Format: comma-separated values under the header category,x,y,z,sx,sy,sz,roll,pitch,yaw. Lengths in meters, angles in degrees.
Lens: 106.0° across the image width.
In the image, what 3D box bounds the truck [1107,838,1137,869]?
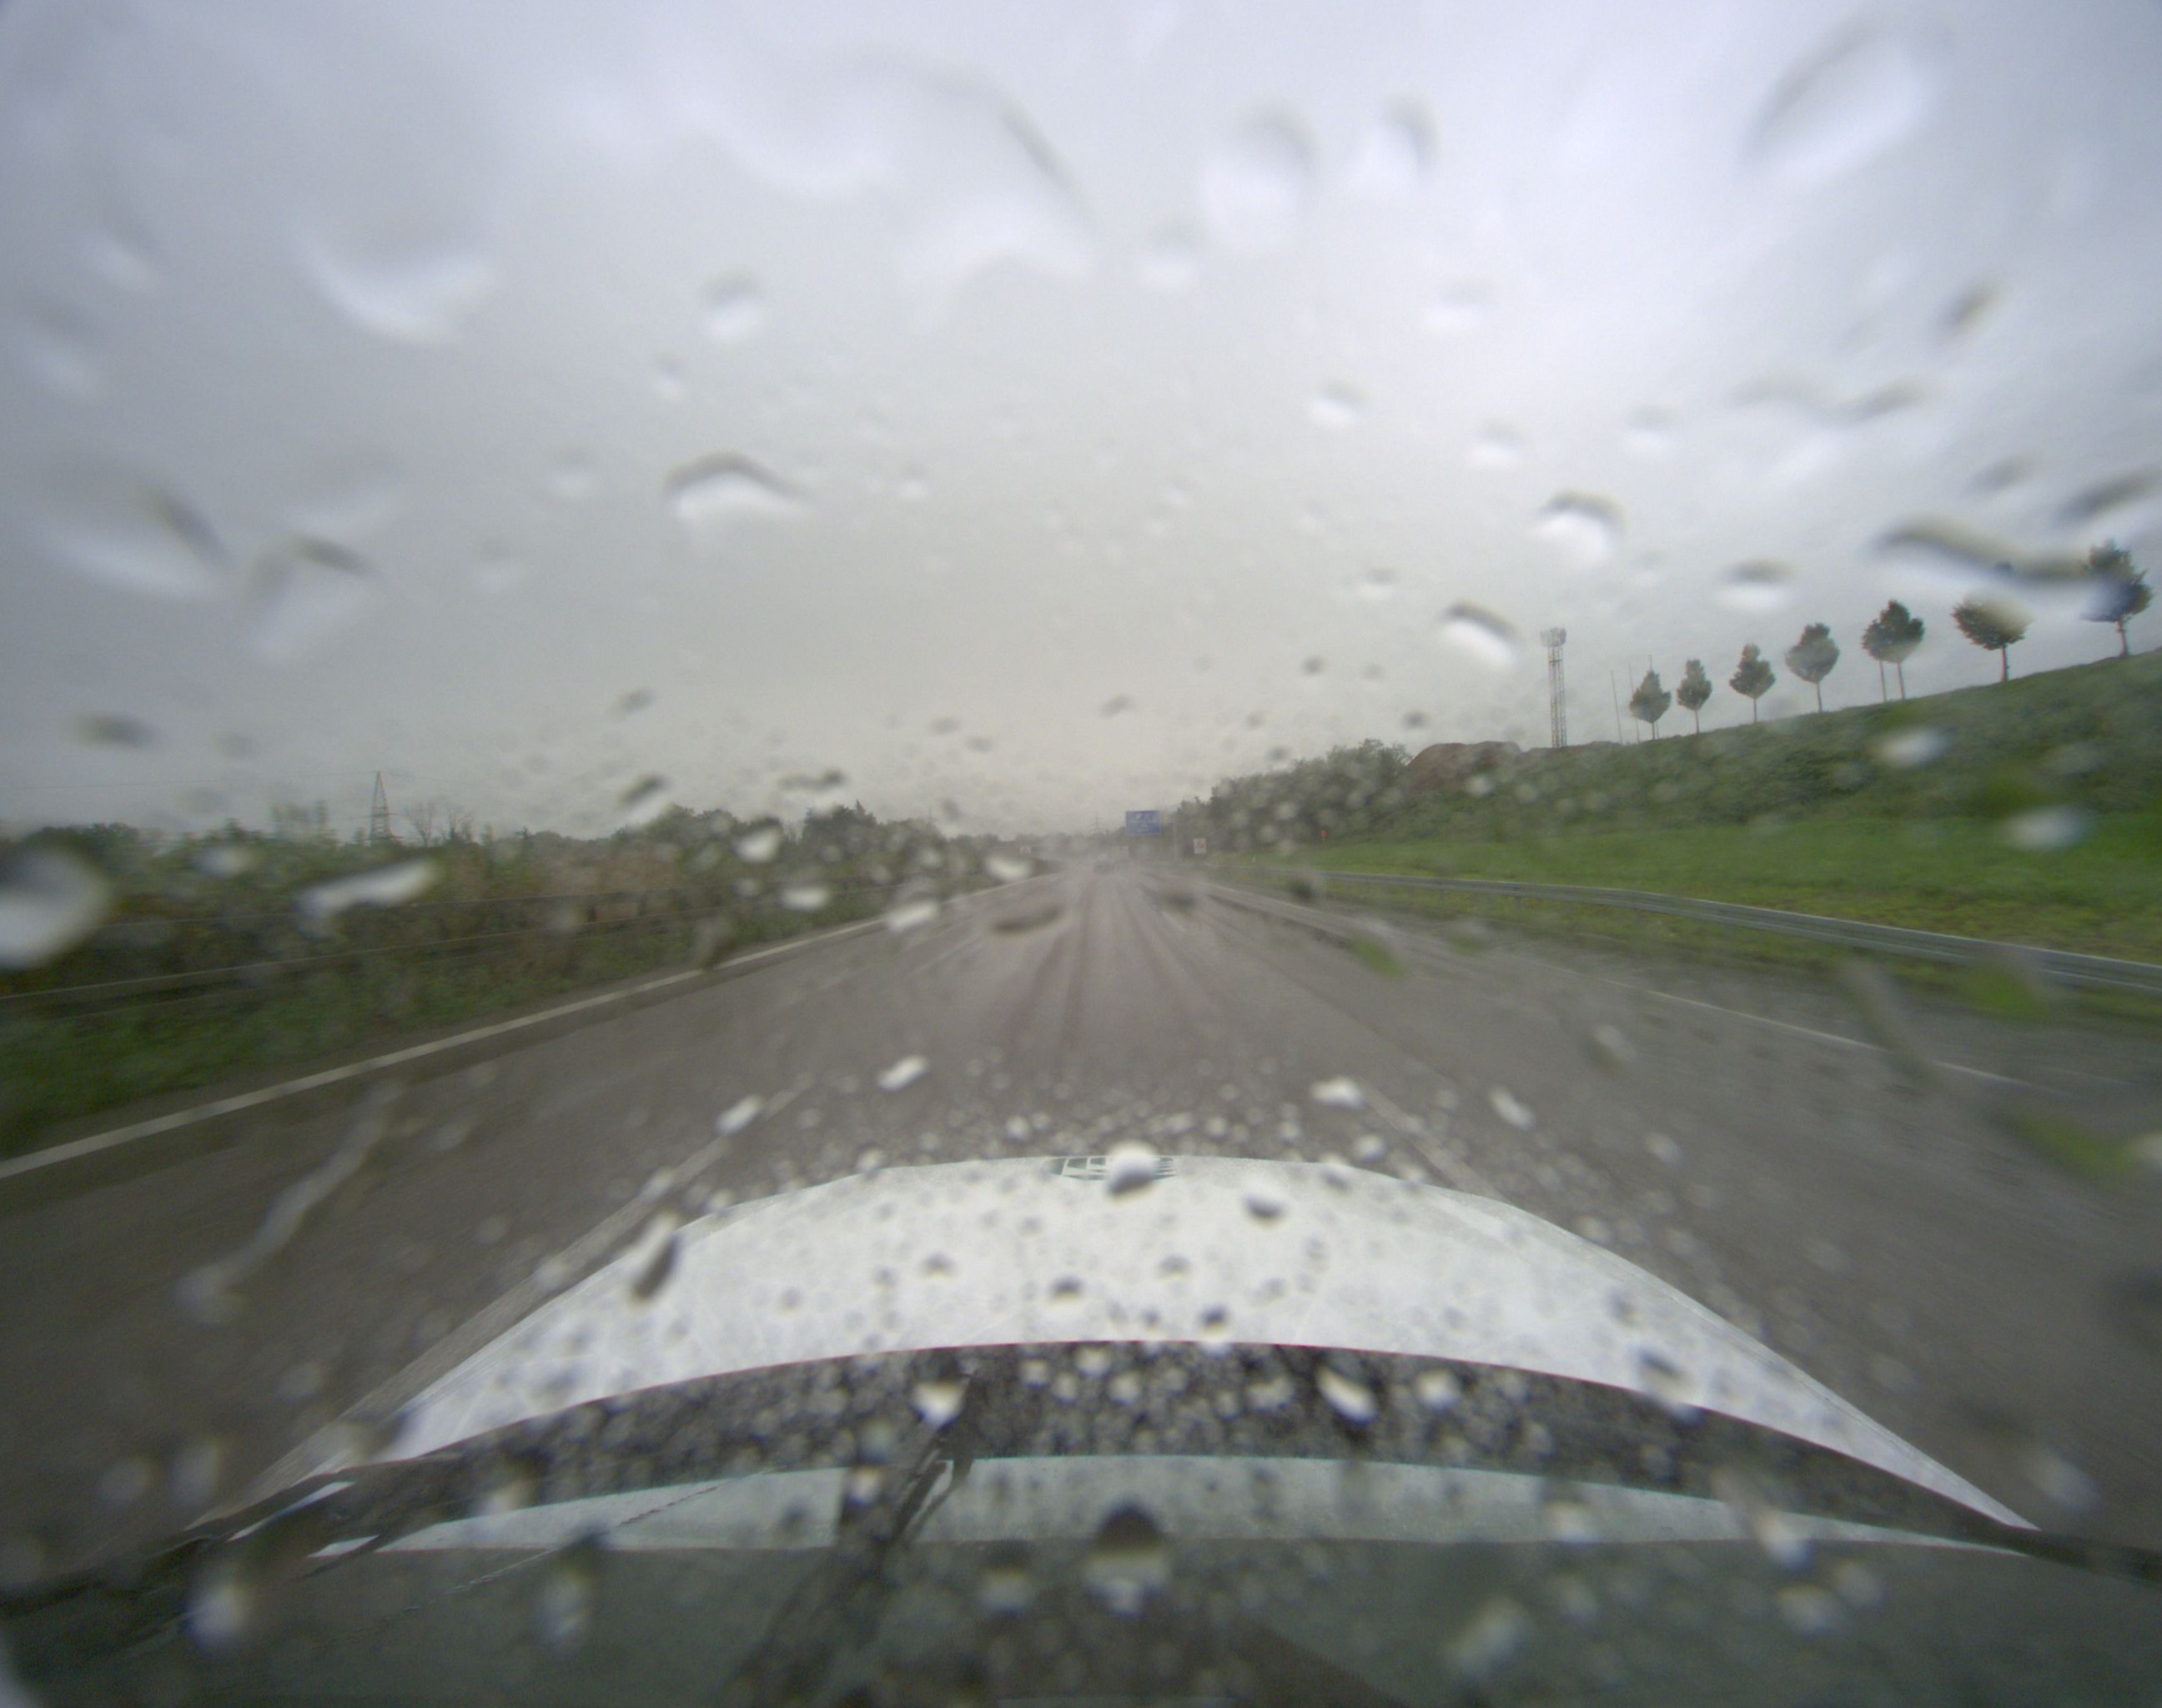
category,x,y,z,sx,sy,sz,roll,pitch,yaw
truck,7.420,-0.101,149.766,4.243,4.971,17.337,-5,0,0

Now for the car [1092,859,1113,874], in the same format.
category,x,y,z,sx,sy,sz,roll,pitch,yaw
car,1.810,1.076,70.580,1.743,1.212,3.999,-1,-2,1
